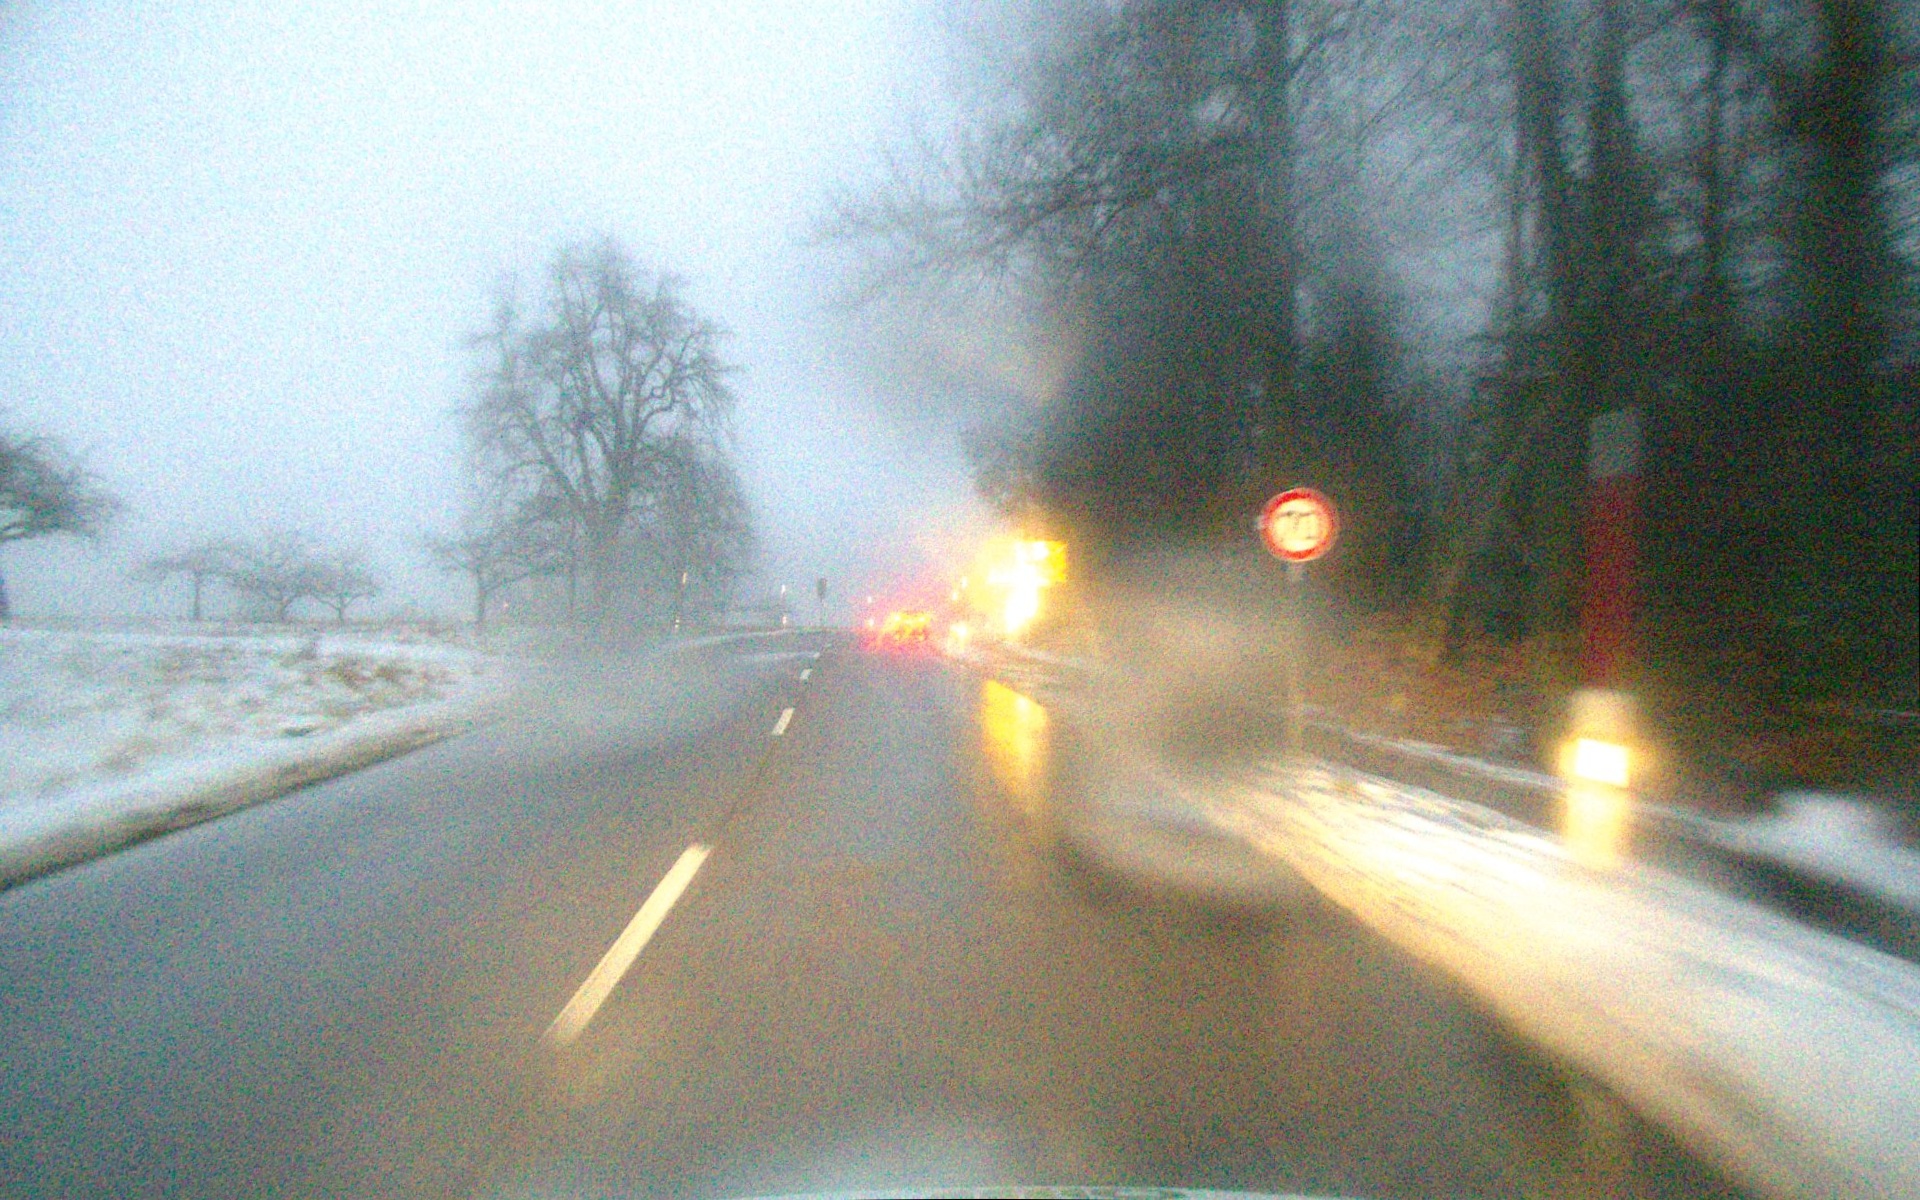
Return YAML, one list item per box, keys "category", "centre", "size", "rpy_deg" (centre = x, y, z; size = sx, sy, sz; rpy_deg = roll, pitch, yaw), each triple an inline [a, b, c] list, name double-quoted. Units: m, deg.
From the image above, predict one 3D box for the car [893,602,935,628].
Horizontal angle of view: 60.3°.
- category: "car"
  centre: [-2.437, 0.809, 88.293]
  size: [1.881, 1.299, 4.002]
  rpy_deg: [1, 0, 4]
